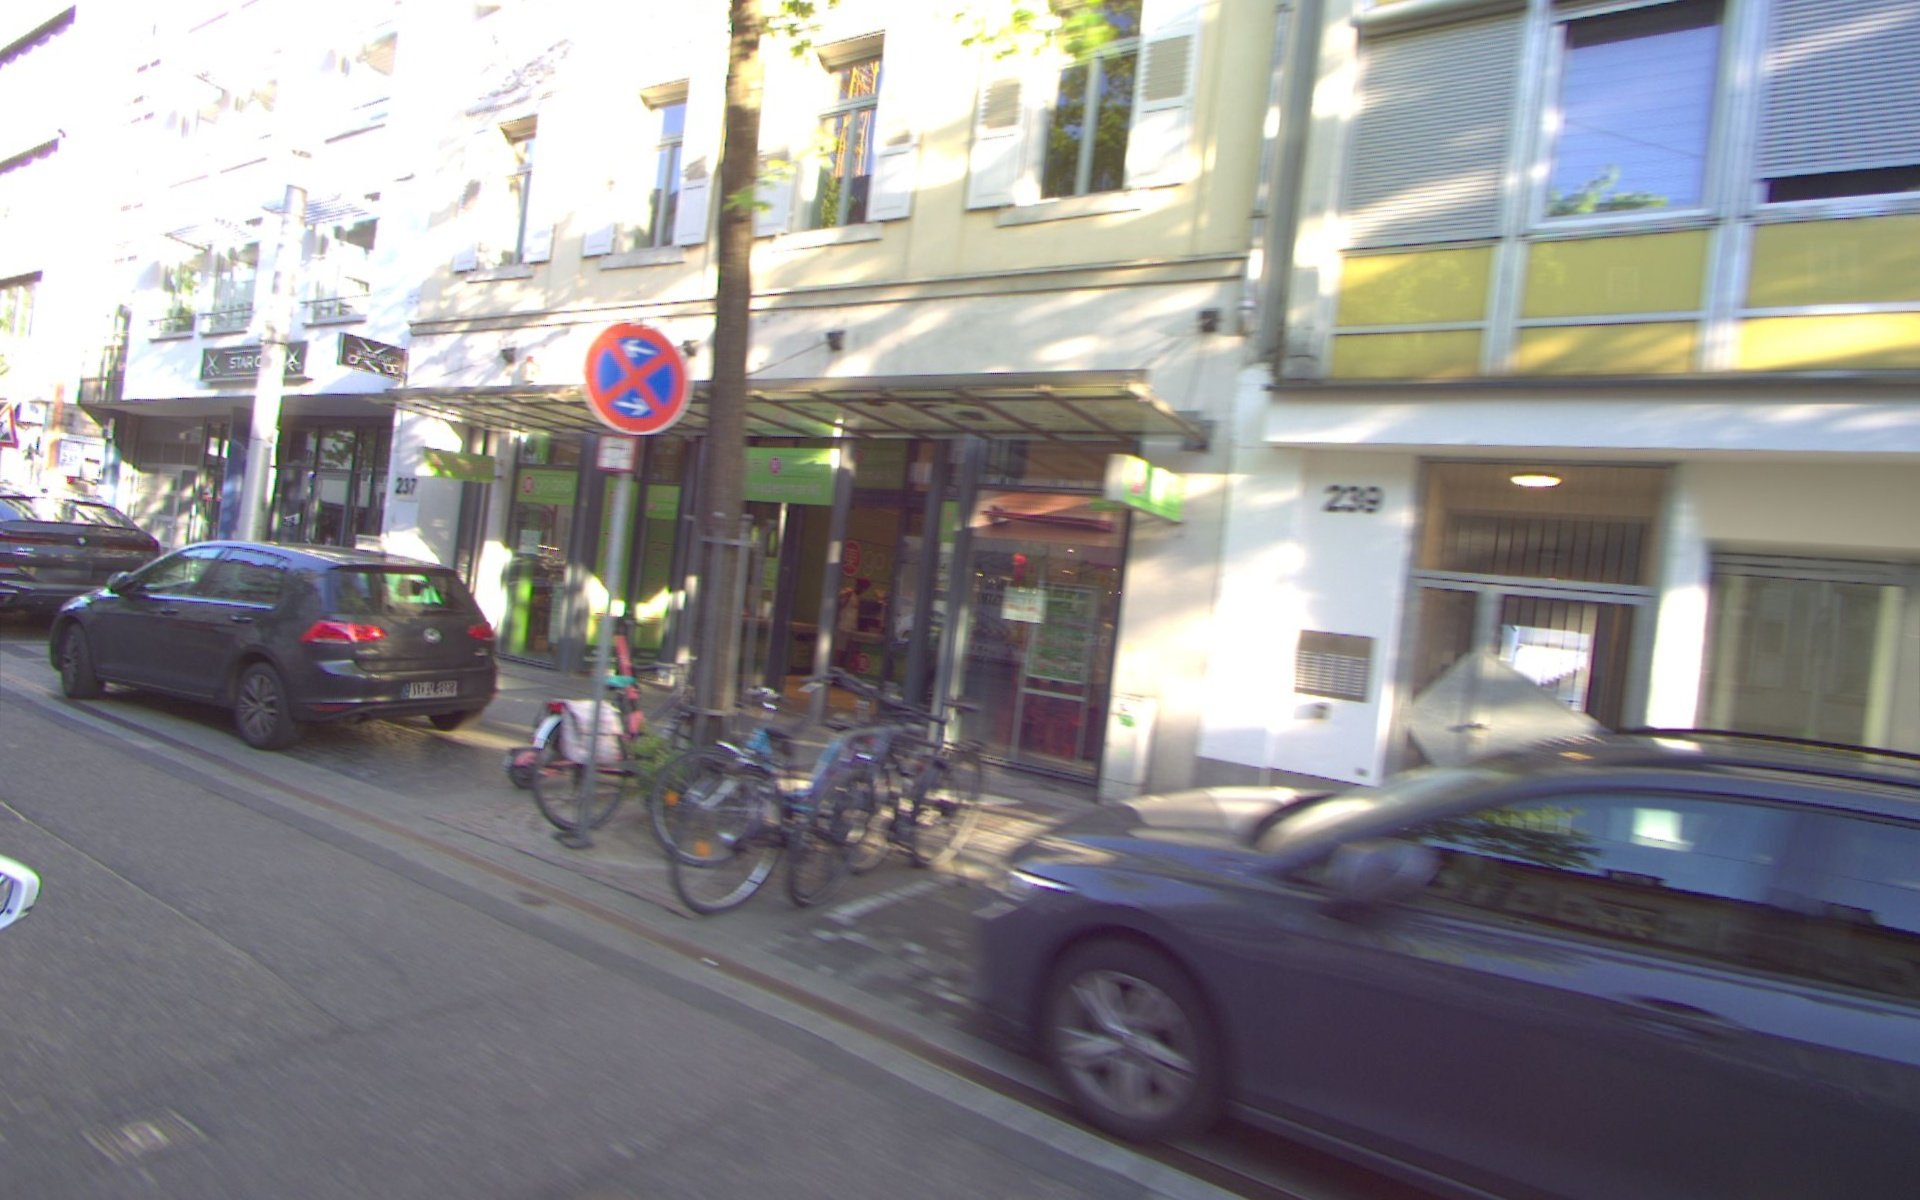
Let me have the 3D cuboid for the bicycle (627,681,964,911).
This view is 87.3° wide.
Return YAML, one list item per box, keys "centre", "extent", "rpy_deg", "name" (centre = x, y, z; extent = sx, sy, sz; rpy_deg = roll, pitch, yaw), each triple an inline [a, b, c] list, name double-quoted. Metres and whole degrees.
- centre: [-0.746, 0.962, 5.306]
  extent: [0.278, 0.976, 2.038]
  rpy_deg: [7, -1, 37]
  name: "bicycle"

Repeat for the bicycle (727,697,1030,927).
- centre: [-0.329, 1.036, 5.312]
  extent: [0.327, 0.976, 1.896]
  rpy_deg: [7, -1, 37]
  name: "bicycle"

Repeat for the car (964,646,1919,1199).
- centre: [2.266, 1.127, 3.146]
  extent: [4.039, 1.472, 1.871]
  rpy_deg: [7, 1, 33]
  name: "car"

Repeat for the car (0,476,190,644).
- centre: [-12.072, -0.648, 12.757]
  extent: [4.786, 1.734, 1.996]
  rpy_deg: [7, -1, 32]
  name: "car"

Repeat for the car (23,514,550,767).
- centre: [-5.679, 0.236, 8.479]
  extent: [3.928, 1.455, 1.841]
  rpy_deg: [7, 1, 24]
  name: "car"

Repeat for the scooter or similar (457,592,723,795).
- centre: [-2.543, 0.650, 7.064]
  extent: [0.664, 1.211, 1.539]
  rpy_deg: [7, -1, 36]
  name: "scooter or similar"

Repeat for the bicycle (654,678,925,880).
- centre: [-0.941, 1.000, 5.895]
  extent: [0.489, 0.976, 1.538]
  rpy_deg: [7, -1, 39]
  name: "bicycle"

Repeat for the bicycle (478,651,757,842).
- centre: [-2.043, 0.870, 6.199]
  extent: [0.488, 0.976, 1.539]
  rpy_deg: [7, -1, 36]
  name: "bicycle"
